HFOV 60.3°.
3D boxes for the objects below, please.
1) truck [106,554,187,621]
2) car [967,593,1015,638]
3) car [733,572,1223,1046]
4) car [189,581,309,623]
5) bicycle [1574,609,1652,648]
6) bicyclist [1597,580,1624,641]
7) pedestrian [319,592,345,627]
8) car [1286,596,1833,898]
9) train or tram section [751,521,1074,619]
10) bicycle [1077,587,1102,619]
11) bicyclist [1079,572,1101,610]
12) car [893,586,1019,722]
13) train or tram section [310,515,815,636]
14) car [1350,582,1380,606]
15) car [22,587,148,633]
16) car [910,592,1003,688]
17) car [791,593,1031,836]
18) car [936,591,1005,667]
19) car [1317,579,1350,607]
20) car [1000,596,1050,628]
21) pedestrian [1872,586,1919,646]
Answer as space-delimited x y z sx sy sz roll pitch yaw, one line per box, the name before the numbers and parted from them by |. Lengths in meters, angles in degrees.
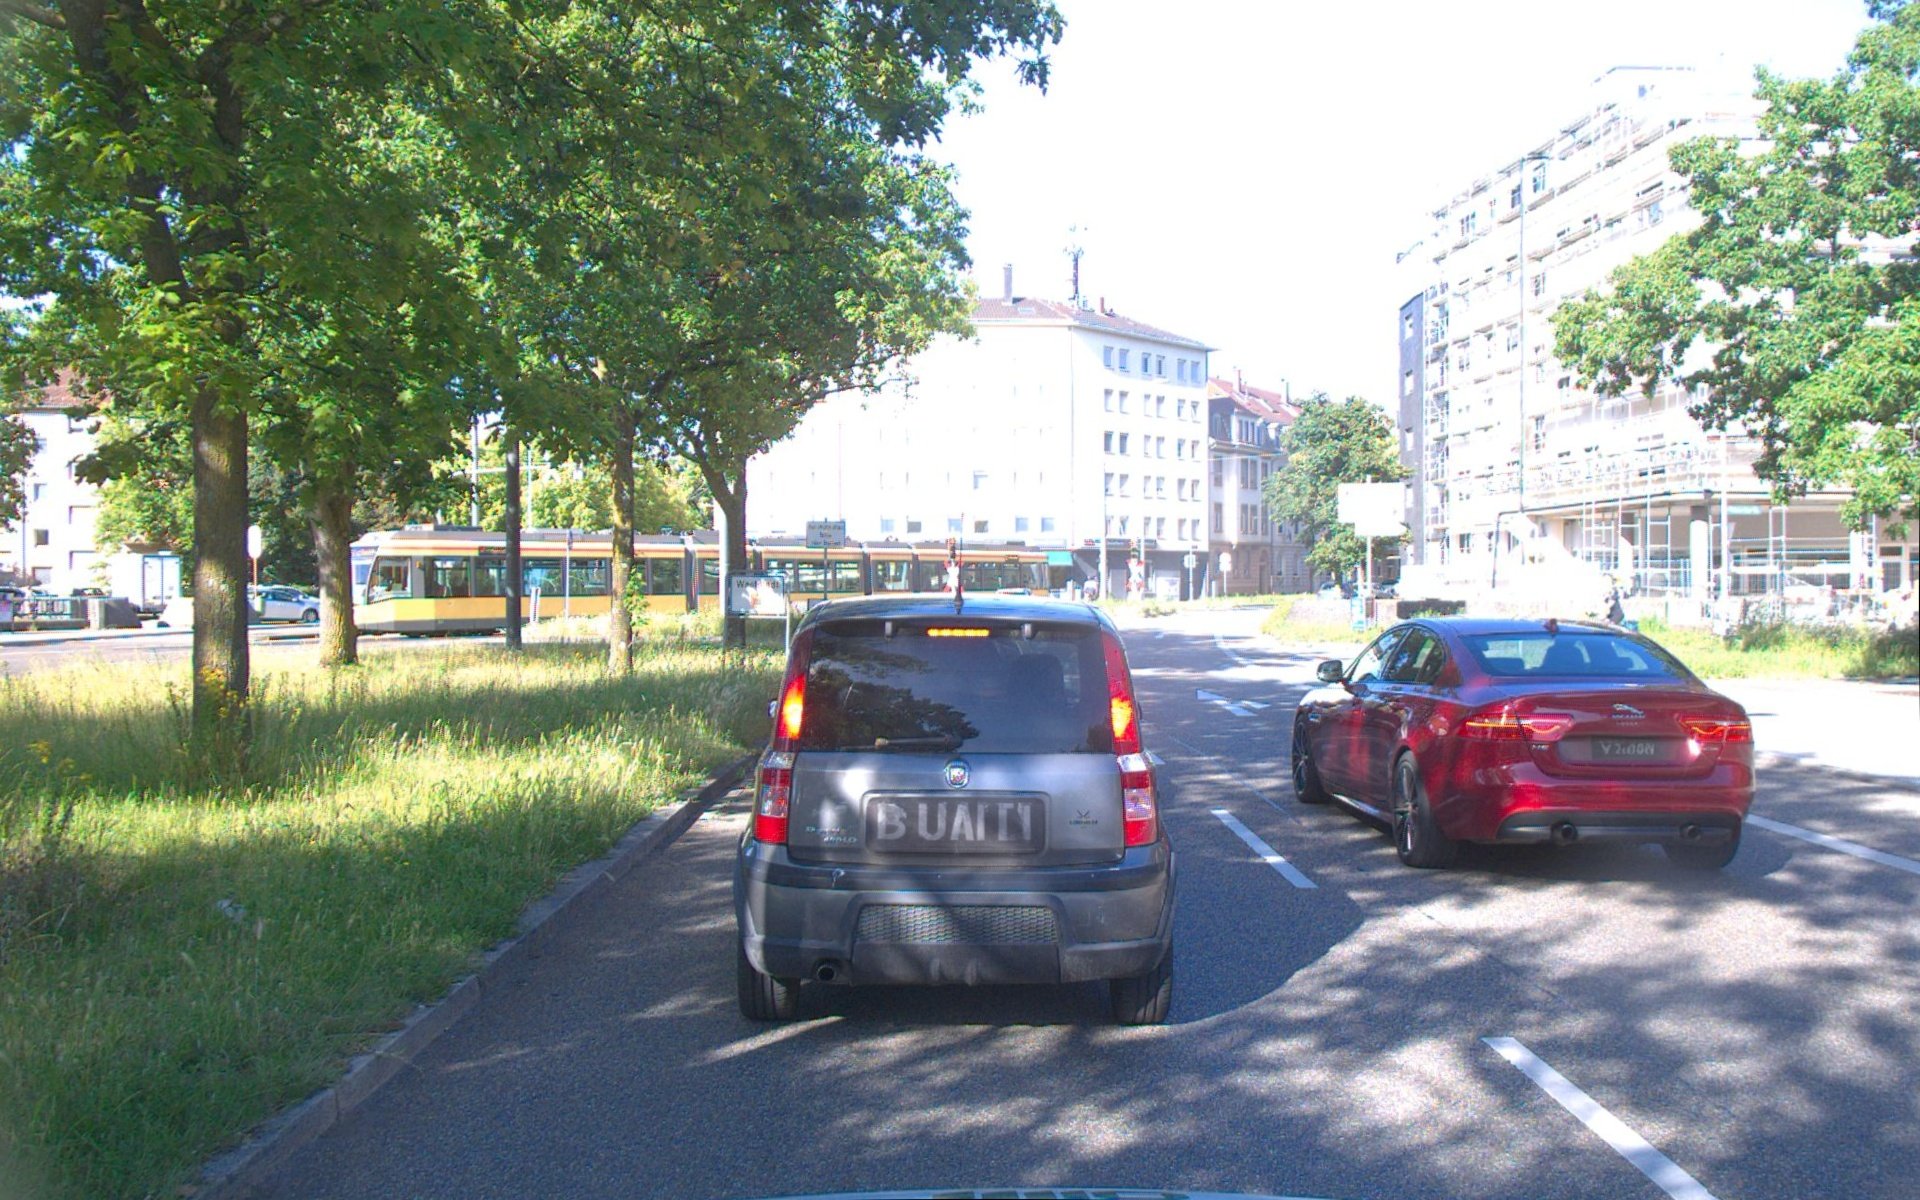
truck | -35.744 -0.552 72.680 3.932 2.854 1.987 0 1 44
car | 0.919 0.442 49.599 1.328 1.304 2.875 0 1 -1
car | 0.033 0.659 7.405 1.595 1.534 3.999 0 1 -1
car | -29.955 0.049 69.774 1.961 1.713 4.302 0 1 38
bicycle | 16.325 0.703 41.359 1.751 0.961 0.560 0 0 14
bicyclist | 16.270 0.258 41.371 0.571 1.519 0.551 0 0 14
pedestrian | -29.306 0.428 77.222 0.904 1.636 0.794 0 0 38
car | 3.464 0.739 10.554 1.849 1.453 4.386 0 1 -1
train or tram section | -1.353 -1.298 73.786 3.237 3.836 20.750 0 1 33
bicycle | 5.109 0.135 65.256 0.694 1.219 2.519 1 0 -2
bicyclist | 5.113 -0.360 65.113 0.726 1.463 0.845 1 0 -2
car | -0.071 0.603 20.665 1.434 1.534 3.504 0 1 -1
train or tram section | -12.826 -0.851 57.517 3.243 3.574 19.295 0 1 38
car | 23.113 -0.338 94.373 1.495 1.337 3.289 0 1 17
car | -34.422 0.368 65.139 1.961 1.713 3.983 0 1 38
car | -0.079 0.608 27.271 1.434 1.449 3.381 0 1 -1
car | -0.317 0.680 11.620 1.434 1.425 3.393 0 1 -1
car | 0.178 0.555 33.853 1.328 1.475 3.265 0 0 -1
car | 20.504 -0.393 90.706 1.646 1.475 3.574 0 1 15
car | 2.285 0.401 57.695 1.118 1.083 2.723 0 1 17
pedestrian | 23.431 0.388 41.160 0.877 1.472 0.962 0 0 -15
